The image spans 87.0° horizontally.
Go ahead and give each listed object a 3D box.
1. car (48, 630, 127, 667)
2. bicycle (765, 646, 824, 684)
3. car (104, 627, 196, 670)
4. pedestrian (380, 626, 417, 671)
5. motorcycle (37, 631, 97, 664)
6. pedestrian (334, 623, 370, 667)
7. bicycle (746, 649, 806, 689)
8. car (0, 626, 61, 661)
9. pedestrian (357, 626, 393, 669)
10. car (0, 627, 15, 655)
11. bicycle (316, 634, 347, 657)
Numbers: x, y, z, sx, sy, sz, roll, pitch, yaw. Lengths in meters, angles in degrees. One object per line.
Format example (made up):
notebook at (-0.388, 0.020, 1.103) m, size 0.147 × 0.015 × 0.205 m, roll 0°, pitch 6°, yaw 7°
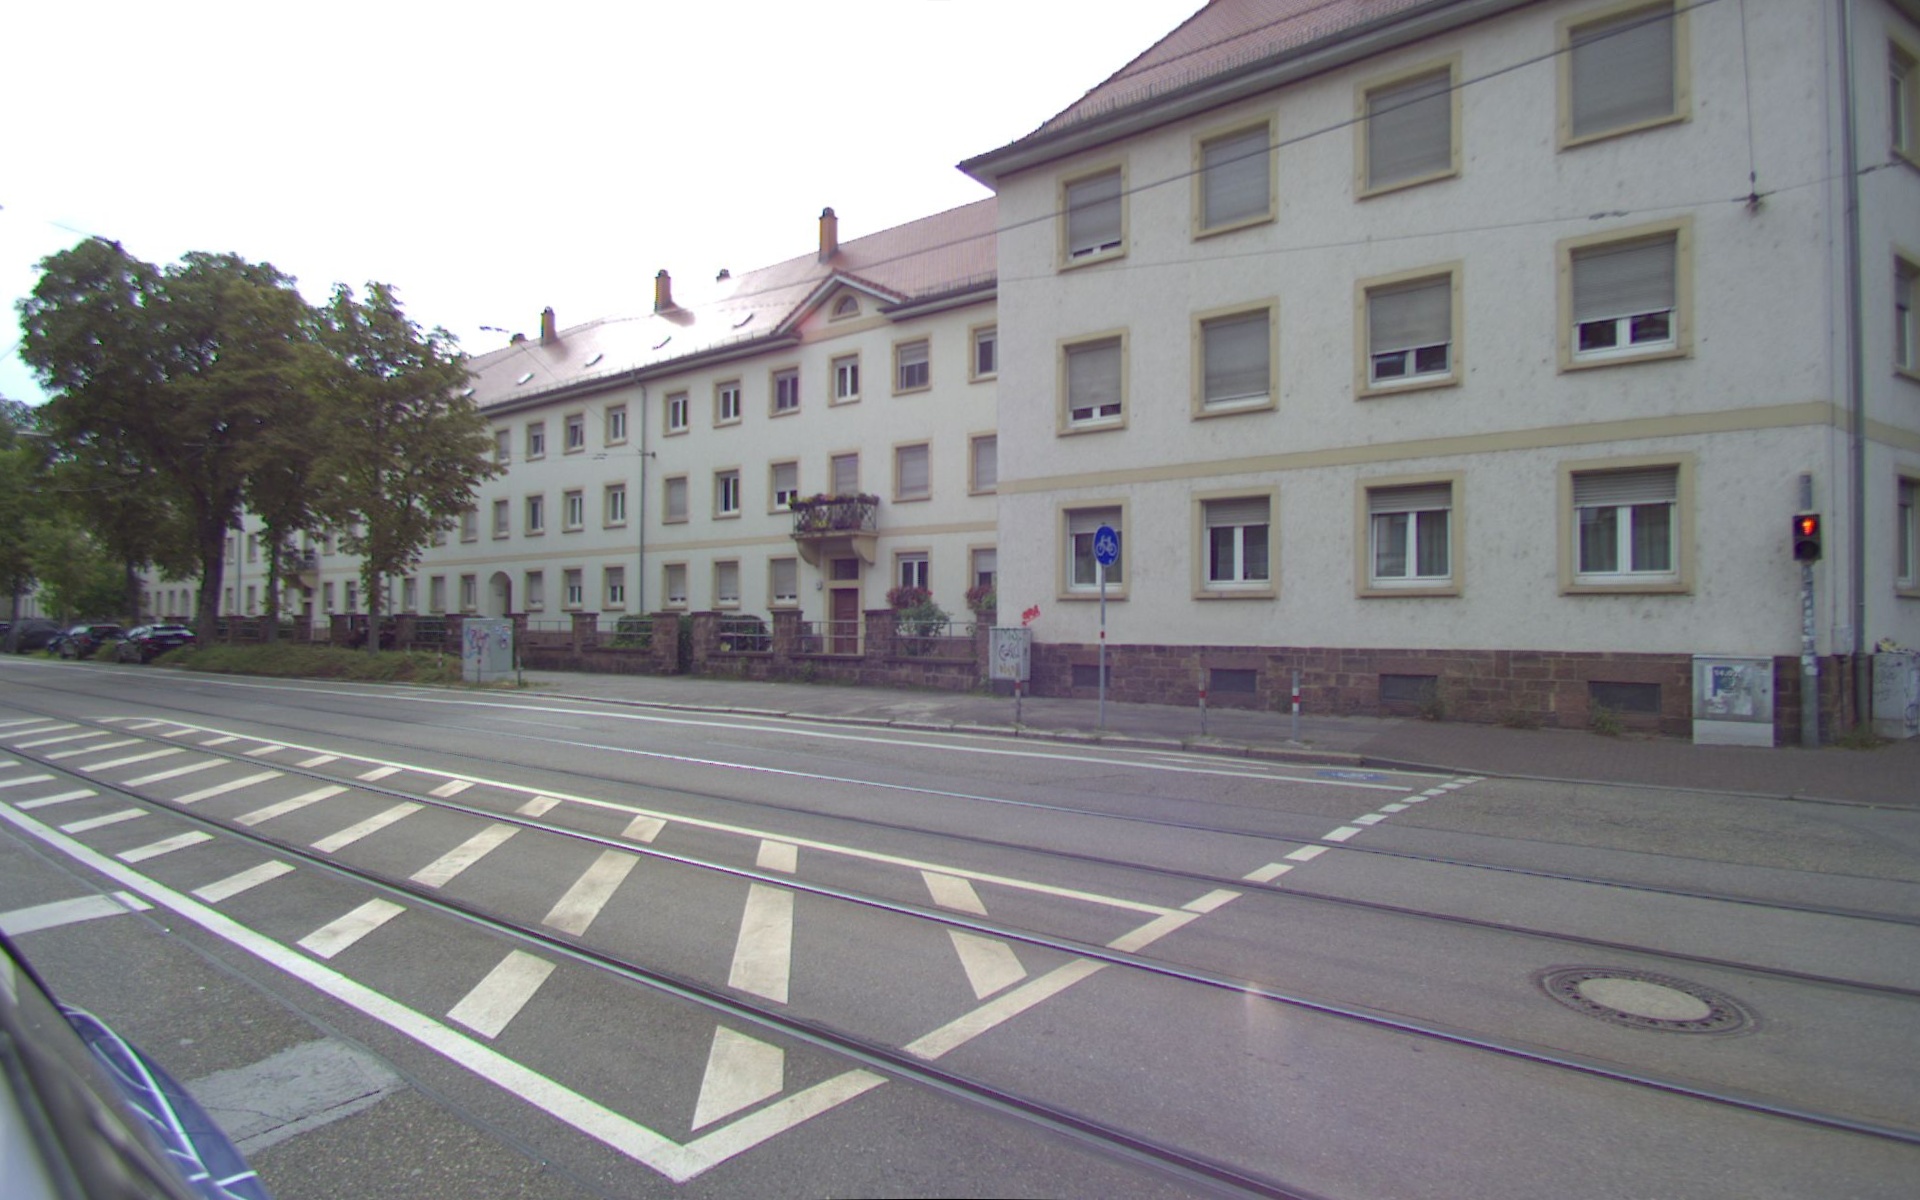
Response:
car at (-36.847, 2.008, 42.726) m, size 4.293 × 1.434 × 1.681 m, roll -1°, pitch -1°, yaw 37°
bicycle at (-4.230, 1.653, 25.833) m, size 1.669 × 0.922 × 0.473 m, roll -1°, pitch -3°, yaw 38°
car at (-30.384, 1.789, 37.926) m, size 4.293 × 1.434 × 1.681 m, roll -1°, pitch 1°, yaw 37°
pedestrian at (-18.929, 1.618, 34.109) m, size 0.730 × 1.476 × 0.826 m, roll -1°, pitch -3°, yaw 32°
motorcycle at (-39.838, 2.094, 45.153) m, size 0.590 × 1.269 × 1.852 m, roll -1°, pitch 3°, yaw 33°
pedestrian at (-21.616, 1.602, 35.998) m, size 0.730 × 1.524 × 0.826 m, roll -1°, pitch -3°, yaw 32°
bicycle at (-4.527, 1.683, 24.847) m, size 1.669 × 0.922 × 0.473 m, roll -1°, pitch -3°, yaw 38°
car at (-45.940, 2.123, 49.749) m, size 4.293 × 1.624 × 1.769 m, roll -1°, pitch -3°, yaw 37°
pedestrian at (-20.194, 1.632, 34.931) m, size 0.730 × 1.476 × 0.826 m, roll -1°, pitch -3°, yaw 32°
car at (-53.372, 2.238, 55.269) m, size 4.290 × 1.482 × 1.682 m, roll -1°, pitch -3°, yaw 35°
bicycle at (-24.506, 1.775, 39.449) m, size 1.548 × 0.869 × 0.504 m, roll -1°, pitch -3°, yaw 38°
